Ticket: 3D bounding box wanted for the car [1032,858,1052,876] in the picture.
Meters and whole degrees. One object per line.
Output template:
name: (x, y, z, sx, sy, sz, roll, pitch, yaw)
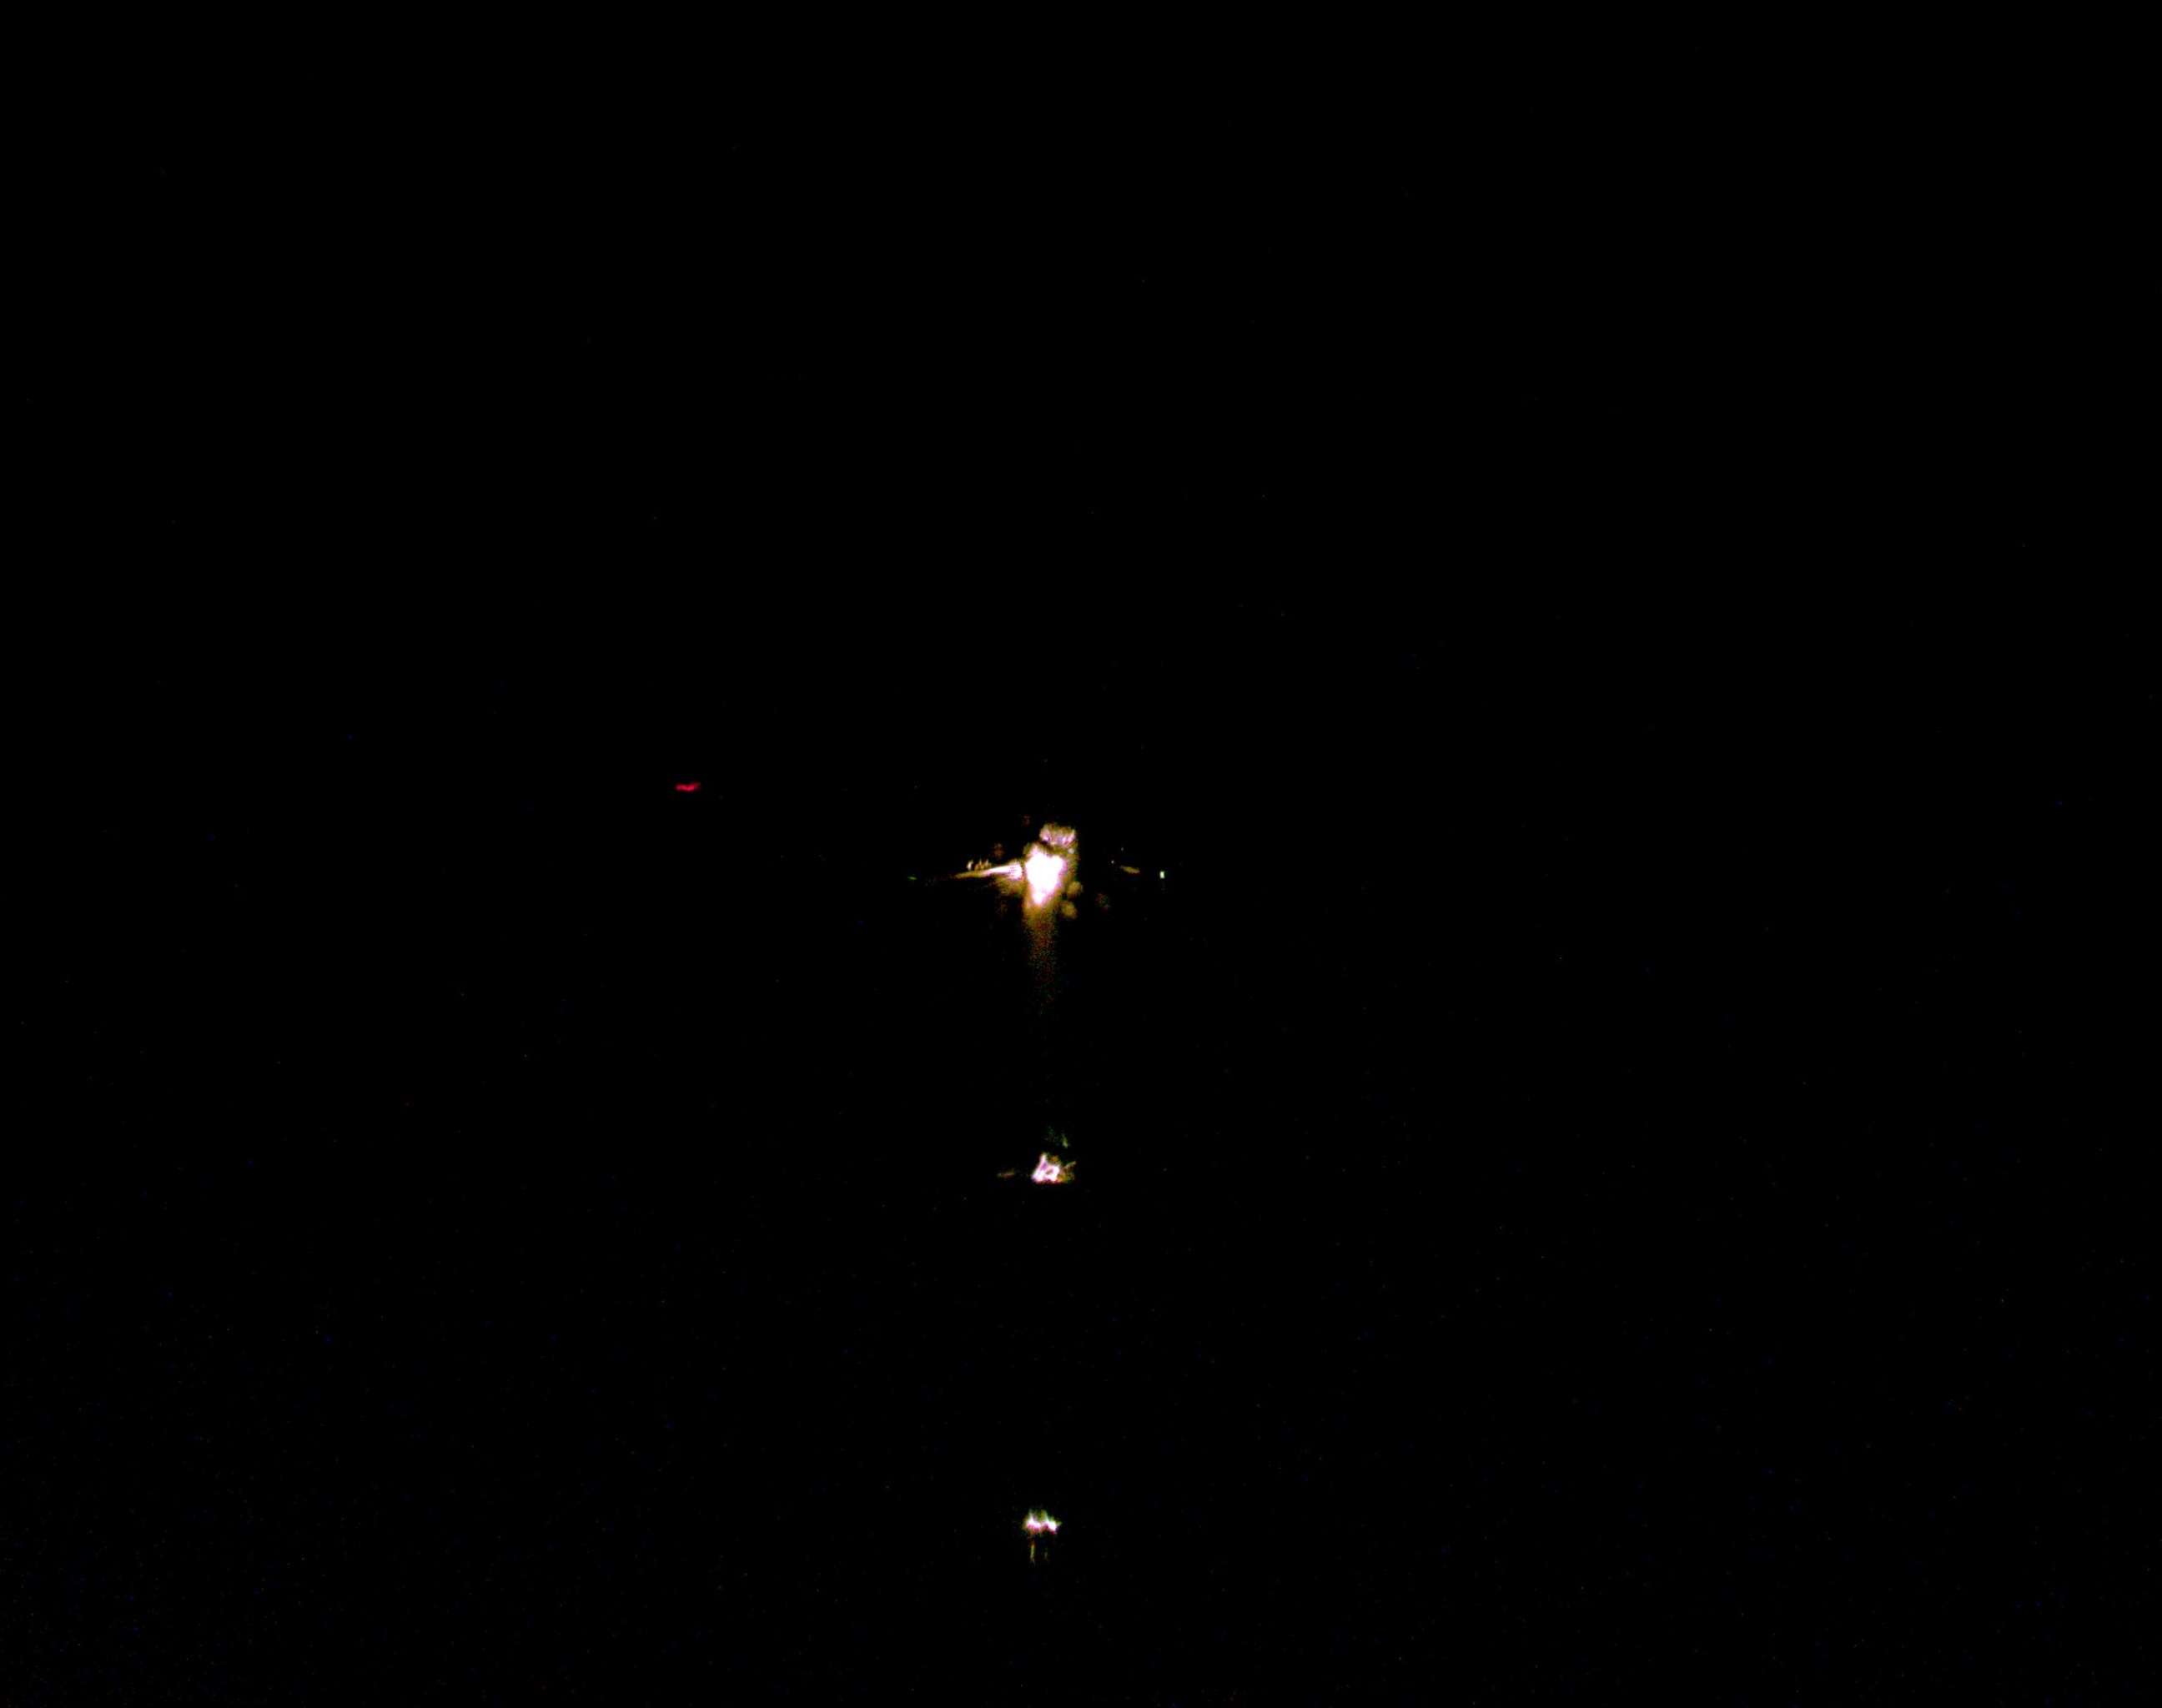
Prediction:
car: (-3.756, 1.279, 78.908, 1.916, 1.646, 4.022, -1, 0, -2)
